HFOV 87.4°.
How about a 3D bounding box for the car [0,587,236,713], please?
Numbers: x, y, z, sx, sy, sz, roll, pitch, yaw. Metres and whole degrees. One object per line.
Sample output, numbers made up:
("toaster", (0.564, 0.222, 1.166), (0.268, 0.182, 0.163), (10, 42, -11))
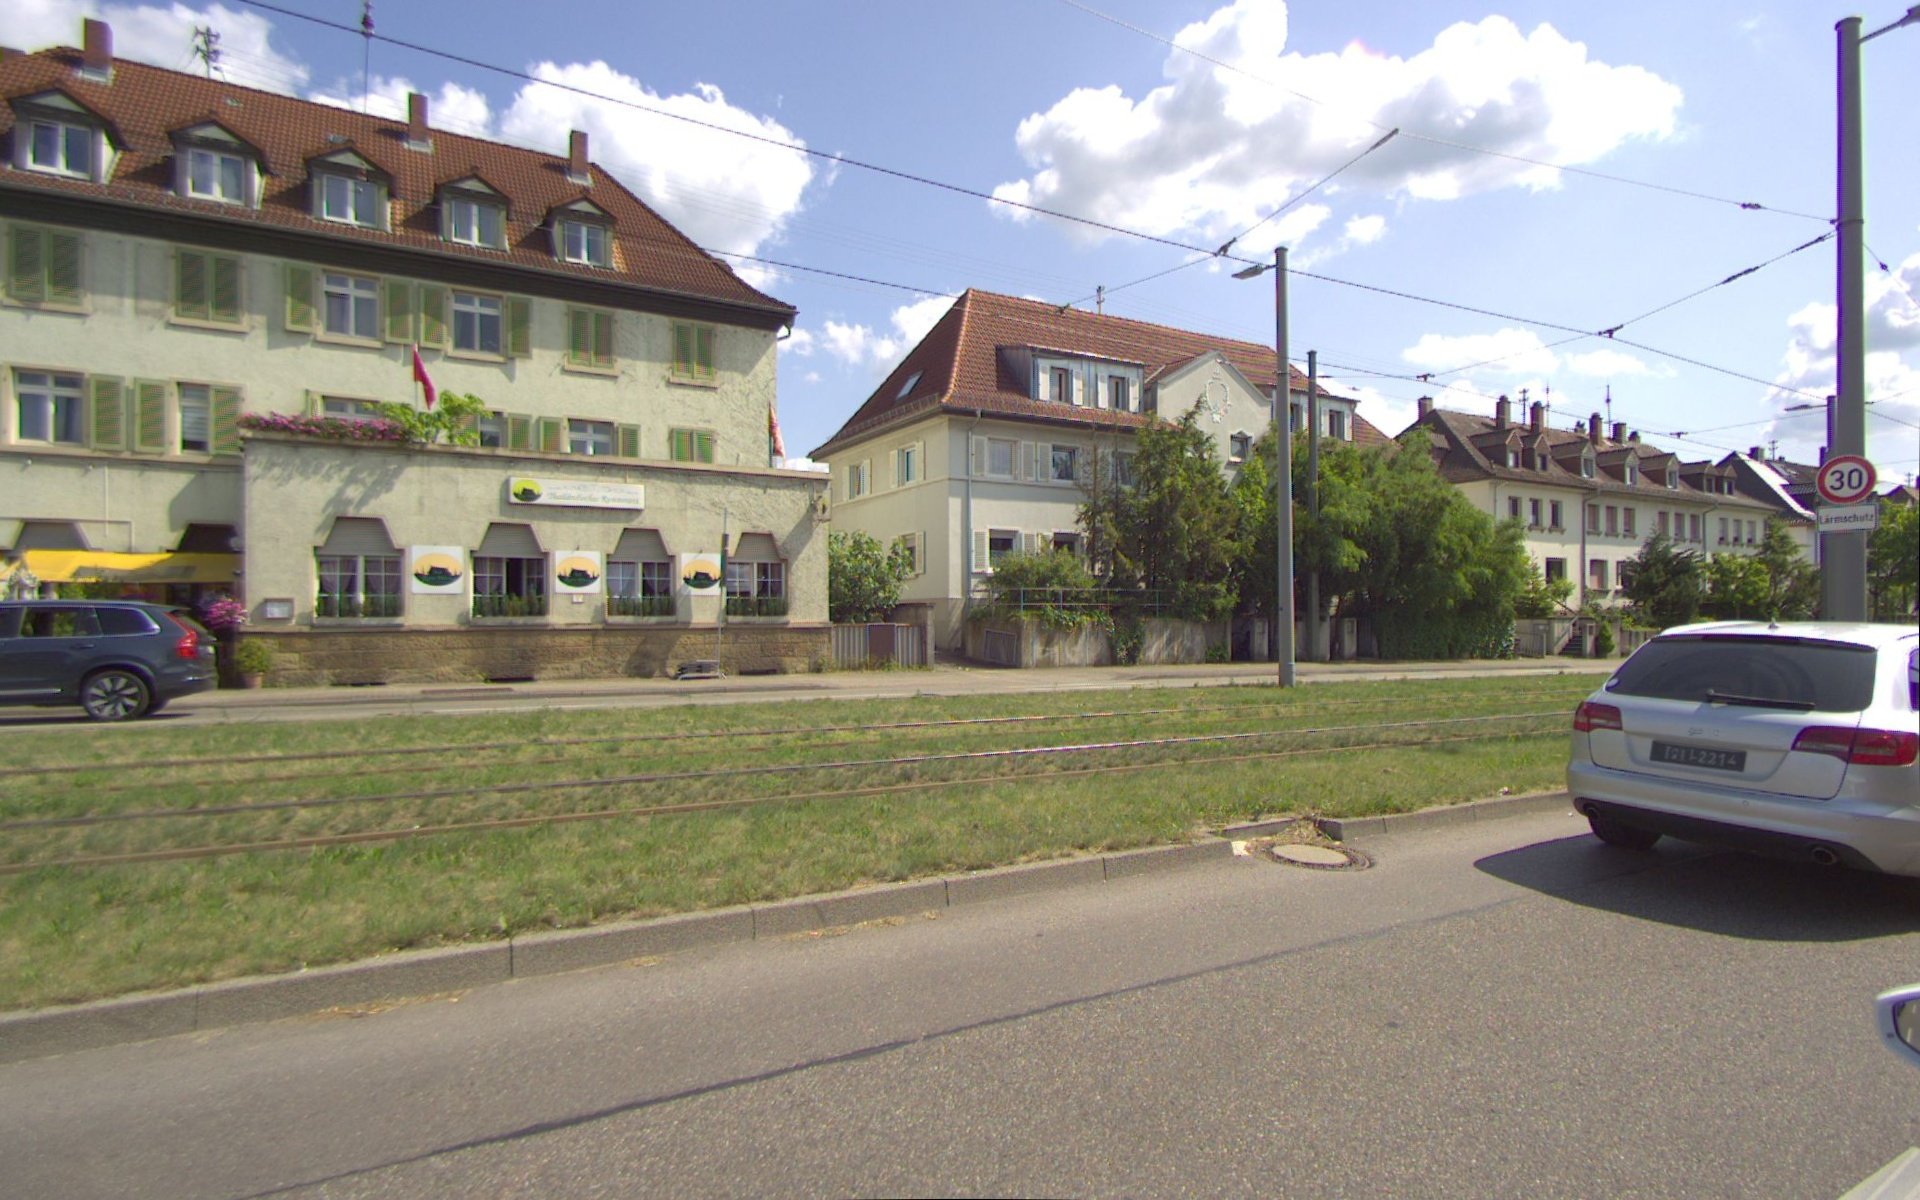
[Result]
("car", (-13.724, 0.721, 14.700), (4.882, 1.734, 2.004), (1, -2, -32))

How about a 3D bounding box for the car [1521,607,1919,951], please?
("car", (5.774, 0.830, 6.354), (4.667, 1.491, 1.786), (1, 0, -31))
